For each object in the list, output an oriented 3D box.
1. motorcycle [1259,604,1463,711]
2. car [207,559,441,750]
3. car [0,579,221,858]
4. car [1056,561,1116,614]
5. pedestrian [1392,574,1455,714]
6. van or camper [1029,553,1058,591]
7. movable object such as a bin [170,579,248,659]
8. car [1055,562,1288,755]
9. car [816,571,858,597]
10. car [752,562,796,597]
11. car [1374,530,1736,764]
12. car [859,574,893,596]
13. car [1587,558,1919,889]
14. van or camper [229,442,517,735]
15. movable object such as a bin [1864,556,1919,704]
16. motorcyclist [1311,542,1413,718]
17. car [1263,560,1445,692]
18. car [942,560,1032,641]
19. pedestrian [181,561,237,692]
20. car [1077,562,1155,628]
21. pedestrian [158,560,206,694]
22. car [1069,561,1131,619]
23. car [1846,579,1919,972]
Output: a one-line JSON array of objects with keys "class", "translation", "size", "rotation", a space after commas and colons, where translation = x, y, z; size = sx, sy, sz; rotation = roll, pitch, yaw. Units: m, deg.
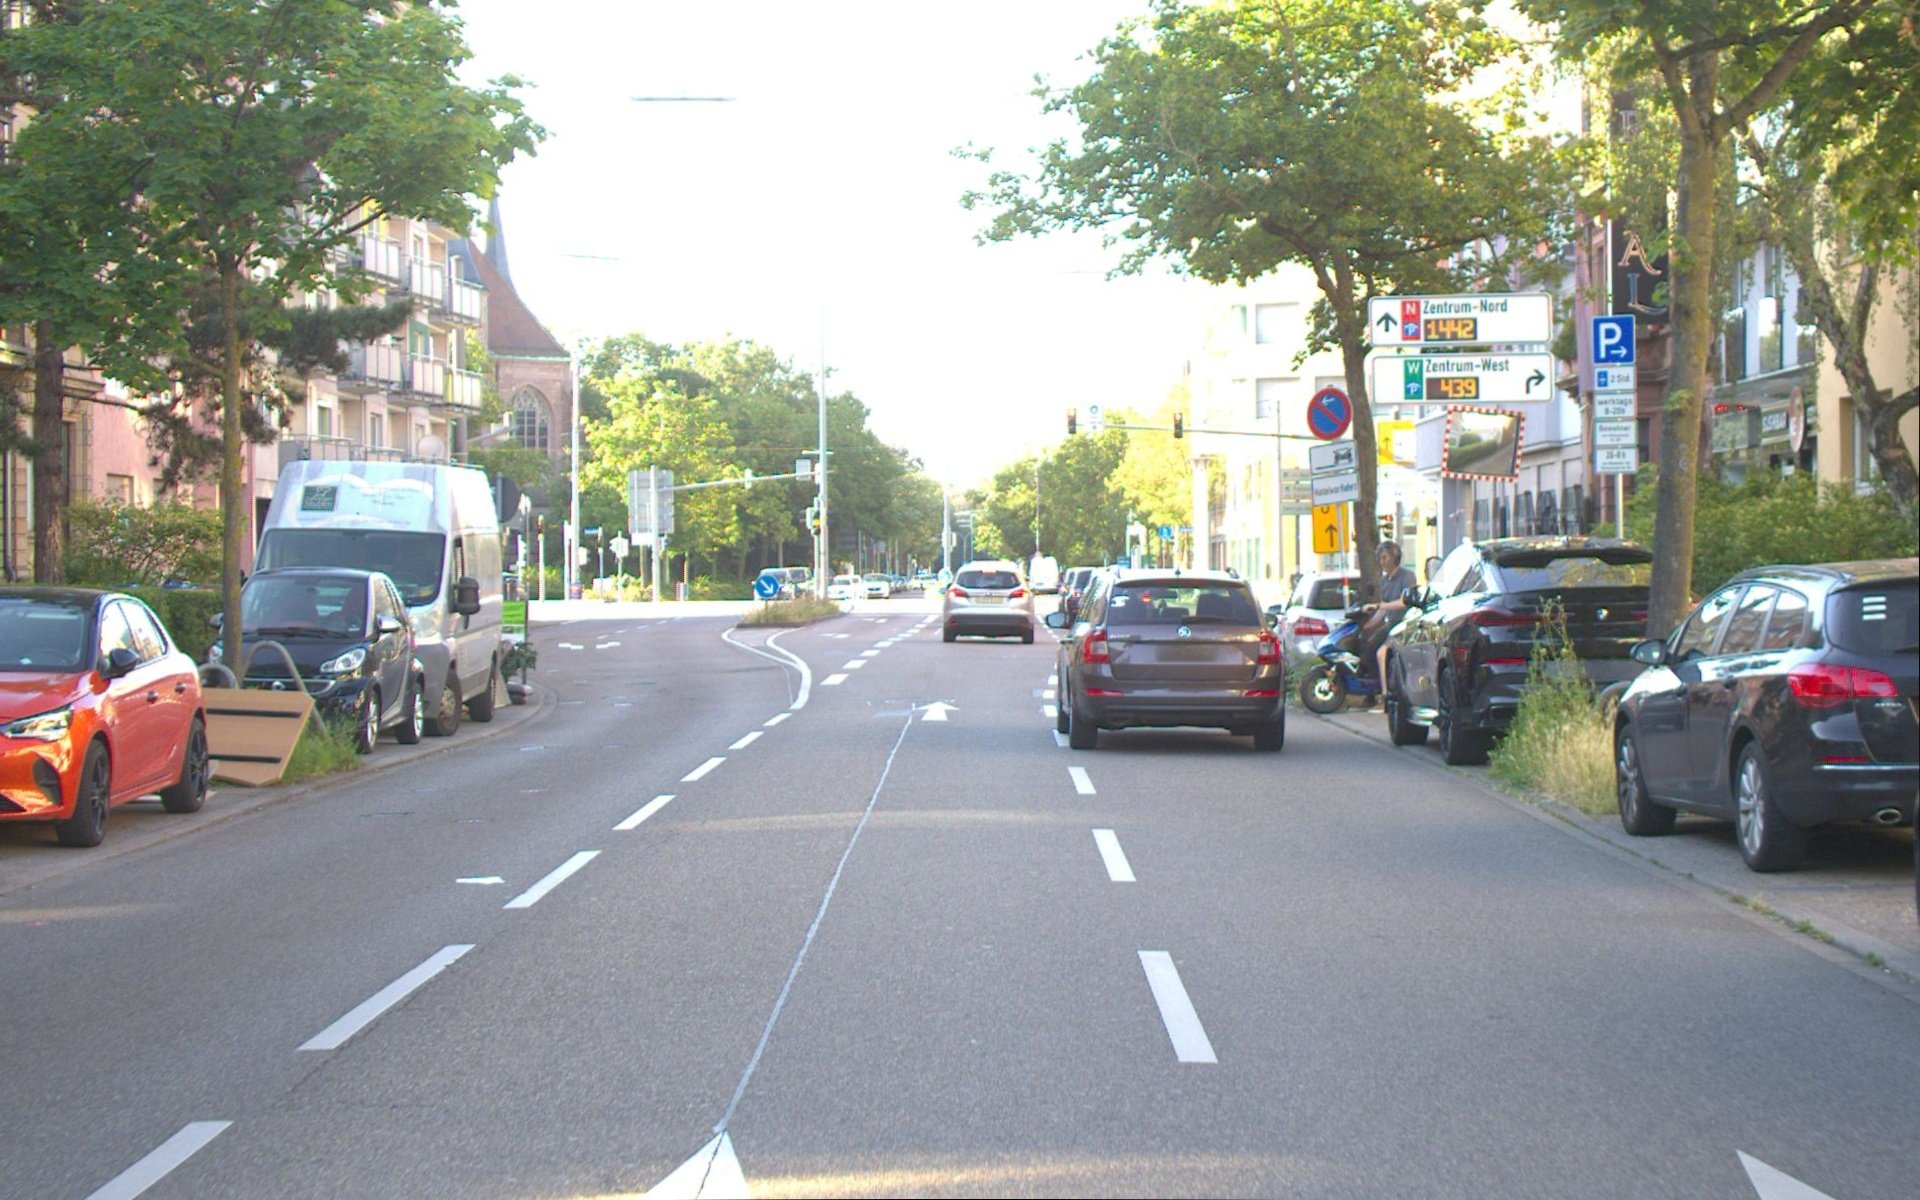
[{"class": "motorcycle", "translation": [4.126, 0.580, 35.414], "size": [1.925, 1.067, 0.820], "rotation": [0, 1, -11]}, {"class": "car", "translation": [-5.482, 0.438, 29.880], "size": [1.404, 1.543, 2.761], "rotation": [2, 1, 2]}, {"class": "car", "translation": [-5.702, 0.624, 20.508], "size": [1.717, 1.447, 3.923], "rotation": [1, 1, 0]}, {"class": "car", "translation": [3.551, -0.362, 97.592], "size": [1.584, 1.442, 3.648], "rotation": [1, 1, 1]}, {"class": "pedestrian", "translation": [4.752, 0.445, 35.284], "size": [0.438, 1.425, 0.704], "rotation": [0, 1, -11]}, {"class": "van or camper", "translation": [5.942, -2.004, 243.593], "size": [1.993, 2.631, 5.350], "rotation": [0, 1, 2]}, {"class": "movable object such as a bin", "translation": [-10.287, 0.252, 47.088], "size": [0.867, 1.047, 0.769], "rotation": [2, 1, -1]}, {"class": "car", "translation": [1.691, 0.430, 28.688], "size": [1.707, 1.452, 4.158], "rotation": [1, 1, 1]}, {"class": "car", "translation": [-5.882, -0.768, 164.231], "size": [1.780, 1.232, 4.000], "rotation": [0, 1, 1]}, {"class": "car", "translation": [-8.907, -1.007, 164.839], "size": [1.780, 1.641, 4.000], "rotation": [0, 1, 1]}, {"class": "car", "translation": [4.519, 0.307, 26.824], "size": [1.948, 1.649, 4.796], "rotation": [0, 1, 0]}, {"class": "car", "translation": [-4.830, -0.891, 197.909], "size": [1.780, 1.232, 4.000], "rotation": [0, 1, 1]}, {"class": "car", "translation": [4.600, 0.538, 17.908], "size": [1.716, 1.467, 4.432], "rotation": [-1, 1, -2]}, {"class": "van or camper", "translation": [-5.826, -0.137, 34.855], "size": [2.035, 2.655, 6.016], "rotation": [2, 0, -2]}, {"class": "movable object such as a bin", "translation": [9.585, 0.284, 33.953], "size": [1.253, 1.436, 0.994], "rotation": [0, 1, 15]}, {"class": "motorcyclist", "translation": [4.119, 0.305, 35.263], "size": [0.736, 1.772, 1.088], "rotation": [0, 0, -11]}, {"class": "car", "translation": [4.879, 0.281, 43.107], "size": [1.856, 1.507, 4.834], "rotation": [-2, 1, 2]}, {"class": "car", "translation": [0.537, -0.013, 67.430], "size": [1.707, 1.504, 4.309], "rotation": [1, 1, 1]}, {"class": "pedestrian", "translation": [-9.515, 0.328, 43.577], "size": [0.604, 1.646, 0.697], "rotation": [-1, 0, -6]}, {"class": "car", "translation": [3.641, -0.128, 80.720], "size": [1.650, 1.479, 4.239], "rotation": [1, 1, 1]}, {"class": "pedestrian", "translation": [-9.675, 0.334, 42.745], "size": [0.480, 1.646, 0.725], "rotation": [-1, 0, -6]}, {"class": "car", "translation": [3.750, -0.284, 92.272], "size": [1.489, 1.500, 3.479], "rotation": [0, 1, 0]}, {"class": "car", "translation": [4.425, 0.653, 11.457], "size": [1.770, 1.444, 4.484], "rotation": [-1, 1, 0]}]
